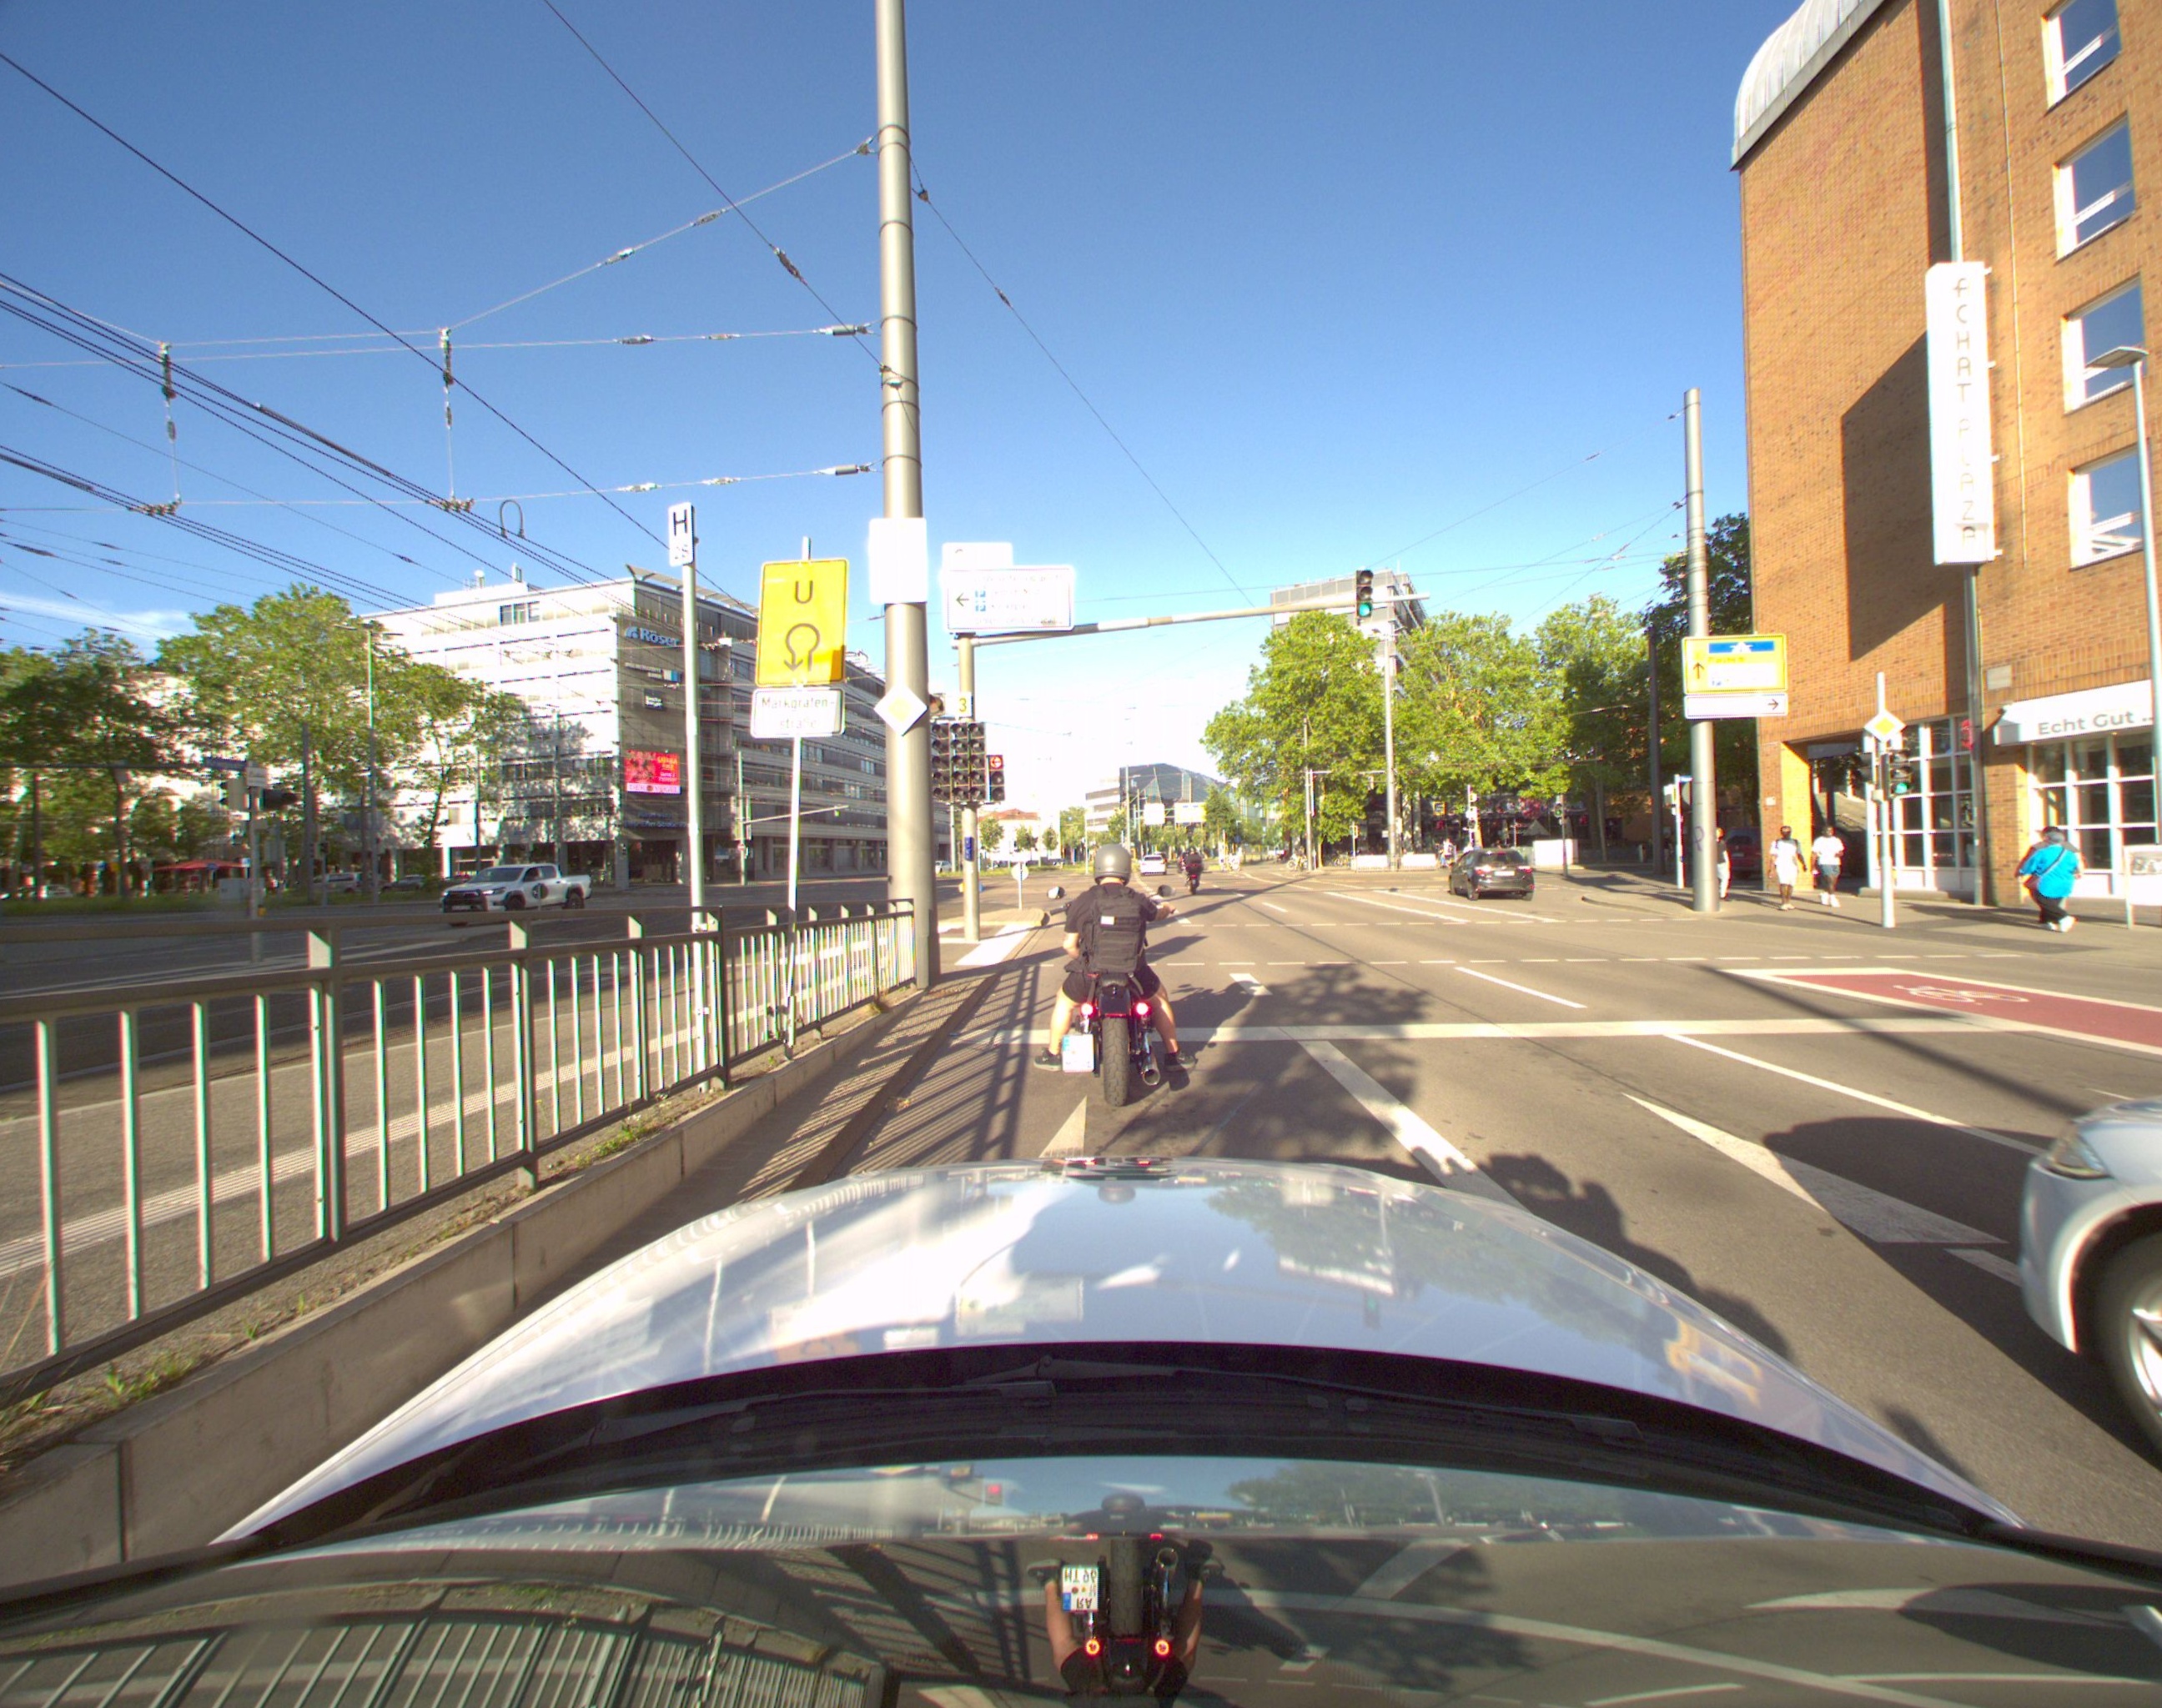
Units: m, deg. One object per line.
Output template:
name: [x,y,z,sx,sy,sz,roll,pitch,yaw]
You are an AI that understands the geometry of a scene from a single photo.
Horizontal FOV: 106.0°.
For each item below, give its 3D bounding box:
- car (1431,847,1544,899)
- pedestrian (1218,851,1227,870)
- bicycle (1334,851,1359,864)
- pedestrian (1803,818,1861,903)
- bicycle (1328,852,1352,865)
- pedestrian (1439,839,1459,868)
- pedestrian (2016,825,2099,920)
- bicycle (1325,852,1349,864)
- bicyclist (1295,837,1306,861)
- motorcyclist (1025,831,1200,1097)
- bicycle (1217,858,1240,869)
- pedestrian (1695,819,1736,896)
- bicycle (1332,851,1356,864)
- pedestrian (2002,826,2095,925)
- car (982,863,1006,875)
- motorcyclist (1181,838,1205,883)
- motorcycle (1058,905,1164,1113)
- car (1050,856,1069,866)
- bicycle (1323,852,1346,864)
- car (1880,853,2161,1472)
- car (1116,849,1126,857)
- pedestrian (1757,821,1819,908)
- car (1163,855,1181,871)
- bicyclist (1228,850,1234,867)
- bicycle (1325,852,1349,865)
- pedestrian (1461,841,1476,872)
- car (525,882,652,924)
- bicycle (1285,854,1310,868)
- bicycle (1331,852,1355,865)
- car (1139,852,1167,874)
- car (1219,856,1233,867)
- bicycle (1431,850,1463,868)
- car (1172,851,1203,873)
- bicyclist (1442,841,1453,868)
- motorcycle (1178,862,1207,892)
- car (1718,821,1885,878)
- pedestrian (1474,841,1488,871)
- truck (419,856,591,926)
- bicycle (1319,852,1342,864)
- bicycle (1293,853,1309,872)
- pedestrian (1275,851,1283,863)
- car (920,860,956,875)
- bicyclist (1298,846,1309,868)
car: [12.246,0.522,24.809,1.723,1.450,4.047,-1,0,5]
pedestrian: [11.876,0.541,68.473,0.587,1.557,0.488,0,-1,-6]
bicycle: [21.296,0.291,65.378,1.874,1.046,0.360,0,-1,1]
pedestrian: [16.167,0.138,17.553,0.588,1.780,0.684,-3,-1,13]
bicycle: [21.503,0.354,67.530,1.874,1.046,0.360,0,0,1]
pedestrian: [21.395,-0.028,47.327,0.829,1.704,0.760,0,-1,2]
pedestrian: [15.684,0.292,13.091,0.590,1.476,0.552,-2,-1,2]
bicycle: [21.565,0.356,68.647,1.874,1.046,0.360,0,0,1]
bicyclist: [16.491,-0.390,61.259,0.693,1.808,0.730,0,-1,6]
motorcyclist: [0.207,0.673,5.409,1.027,1.593,0.874,-2,0,1]
bicycle: [12.148,0.758,66.937,1.823,0.925,0.357,0,-1,-7]
pedestrian: [15.199,0.090,19.511,0.727,1.792,0.515,-1,-1,42]
bicycle: [21.371,0.312,66.160,1.874,1.046,0.360,0,-1,1]
pedestrian: [14.994,0.334,12.634,0.590,1.452,0.601,-4,-1,2]
car: [-11.243,1.933,105.399,1.812,1.430,4.256,-1,-1,13]
motorcyclist: [4.021,0.229,29.295,0.793,1.580,0.529,0,-1,1]
motorcycle: [0.209,0.957,5.769,0.598,1.036,2.235,0,0,2]
car: [-3.312,1.101,126.513,1.736,1.524,4.016,-1,-1,16]
bicycle: [21.546,0.356,69.148,1.874,1.046,0.360,0,0,1]
car: [3.344,0.710,0.321,1.796,1.430,4.456,-2,0,2]
car: [10.104,-0.326,205.004,1.982,2.014,4.309,0,-1,8]
pedestrian: [15.127,0.225,17.443,0.591,1.780,0.681,-5,0,-3]
car: [9.828,0.970,87.717,1.795,1.678,4.046,0,-1,5]
bicyclist: [12.348,0.397,66.966,0.380,1.373,0.344,0,-1,-7]
bicycle: [21.451,0.362,68.162,1.874,1.046,0.360,0,-1,1]
pedestrian: [19.562,0.116,41.109,0.561,1.533,0.705,-1,-1,19]
car: [-13.895,1.359,23.118,2.884,1.063,1.235,0,-1,-19]
bicycle: [17.295,0.576,65.074,1.854,1.044,0.540,-1,-1,20]
bicycle: [21.524,0.335,66.973,1.874,1.046,0.360,0,-1,1]
car: [5.054,0.630,57.530,1.725,1.457,4.419,0,-1,2]
car: [23.429,1.234,131.457,1.789,1.678,4.059,0,-1,18]
bicycle: [25.236,0.355,56.137,2.034,1.214,0.421,0,-1,2]
car: [8.529,0.600,65.462,1.727,1.732,4.608,0,0,-2]
bicyclist: [25.251,0.047,56.148,0.582,1.837,0.403,0,-1,1]
motorcycle: [4.042,0.826,29.589,0.801,1.050,2.377,0,-1,2]
car: [26.234,-0.143,29.756,4.440,2.009,1.810,0,0,2]
pedestrian: [20.201,0.110,41.151,0.561,1.479,0.706,-1,-1,22]
truck: [-18.101,1.123,25.994,1.990,1.880,5.148,-4,-1,-4]
bicycle: [21.509,0.362,70.300,1.874,1.046,0.360,0,0,1]
bicycle: [16.485,0.633,61.120,0.722,1.367,2.922,0,-1,6]
pedestrian: [21.972,0.286,90.329,0.814,1.314,0.640,-1,-1,11]
car: [-15.062,1.418,85.780,1.811,1.430,4.550,-2,0,17]
bicyclist: [17.734,0.248,64.919,0.682,1.673,0.544,-2,-2,21]
